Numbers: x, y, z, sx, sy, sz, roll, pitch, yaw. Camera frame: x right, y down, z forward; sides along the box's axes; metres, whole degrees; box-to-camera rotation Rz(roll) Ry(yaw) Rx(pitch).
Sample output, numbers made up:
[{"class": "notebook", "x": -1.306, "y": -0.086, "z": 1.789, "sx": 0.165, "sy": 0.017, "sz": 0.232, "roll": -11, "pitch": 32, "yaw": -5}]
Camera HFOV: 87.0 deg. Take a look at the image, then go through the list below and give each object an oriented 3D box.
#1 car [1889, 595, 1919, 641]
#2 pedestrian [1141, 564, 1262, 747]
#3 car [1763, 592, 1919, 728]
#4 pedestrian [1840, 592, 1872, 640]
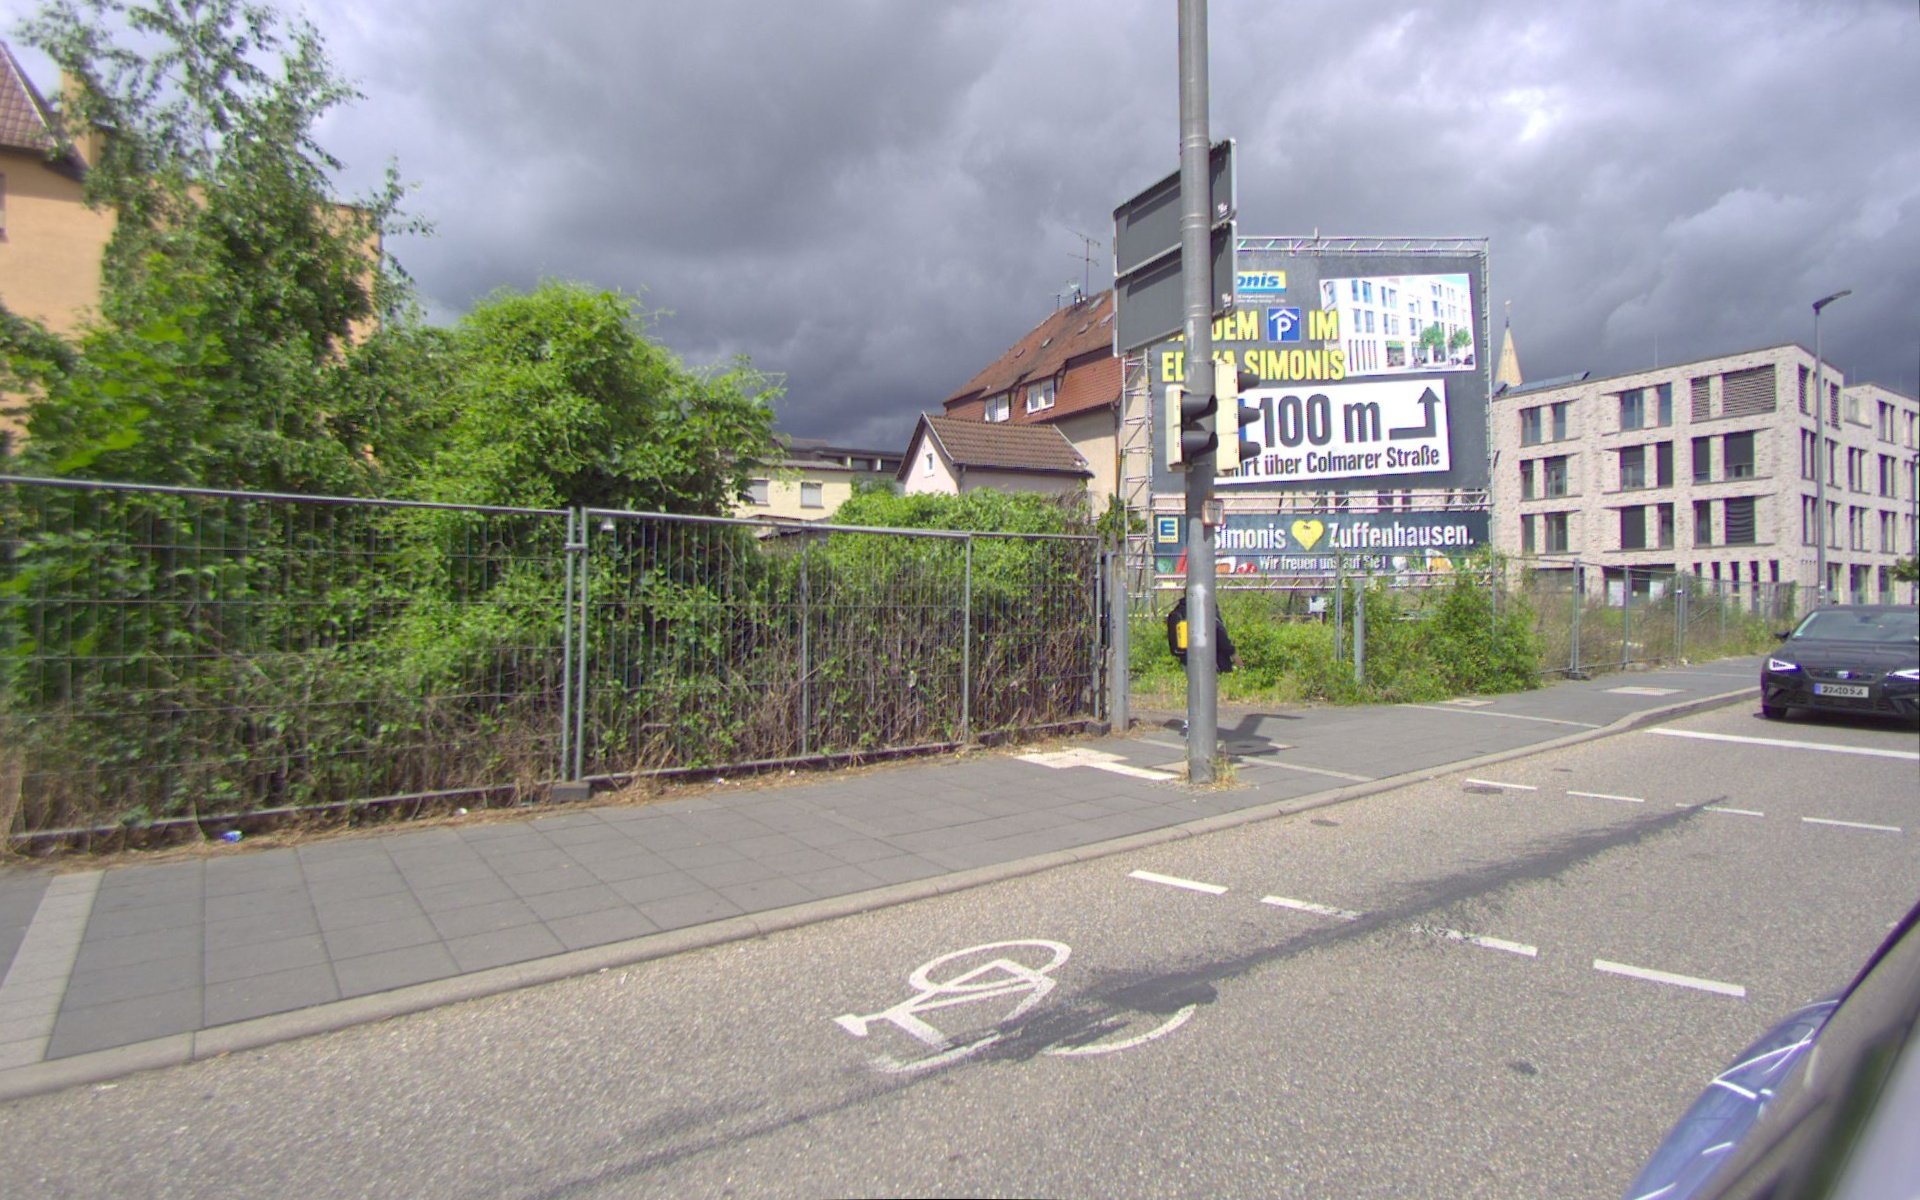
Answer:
[{"class": "car", "x": 32.739, "y": 0.598, "z": 34.018, "sx": 3.726, "sy": 1.441, "sz": 1.678, "roll": -1, "pitch": 2, "yaw": -39}, {"class": "pedestrian", "x": 2.303, "y": 0.500, "z": 9.693, "sx": 0.762, "sy": 1.663, "sz": 0.768, "roll": 2, "pitch": 0, "yaw": -29}, {"class": "car", "x": 11.752, "y": 0.653, "z": 12.824, "sx": 3.726, "sy": 1.451, "sz": 1.678, "roll": -1, "pitch": 1, "yaw": -39}, {"class": "pedestrian", "x": 29.216, "y": 0.519, "z": 32.993, "sx": 0.769, "sy": 1.531, "sz": 0.673, "roll": 1, "pitch": 0, "yaw": -41}]
